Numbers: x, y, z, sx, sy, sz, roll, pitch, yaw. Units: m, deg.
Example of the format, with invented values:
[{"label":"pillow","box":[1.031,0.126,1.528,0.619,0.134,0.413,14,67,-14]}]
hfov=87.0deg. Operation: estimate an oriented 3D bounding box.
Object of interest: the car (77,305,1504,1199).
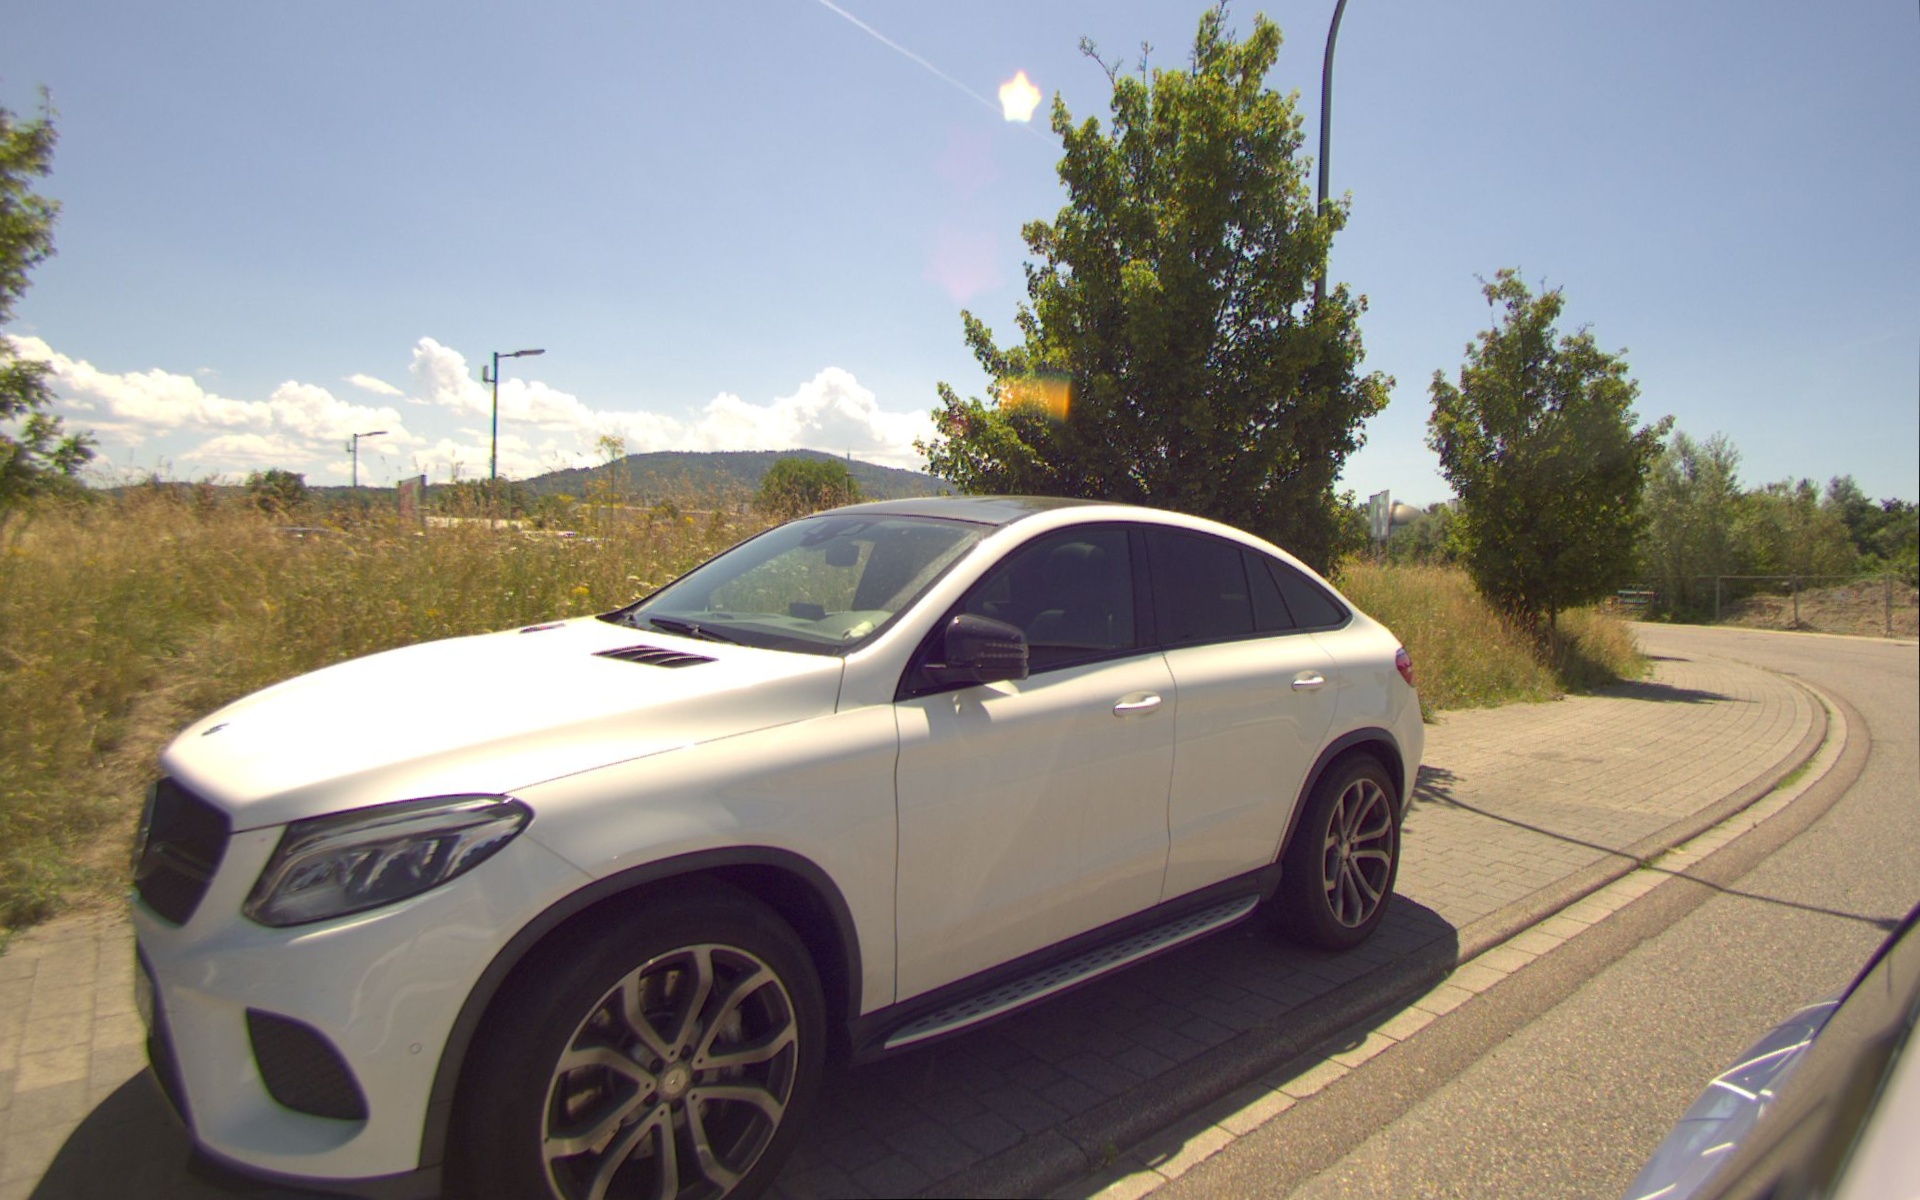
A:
[{"label":"car","box":[-0.124,0.374,3.755,4.701,1.719,2.149,0,4,-41]}]
